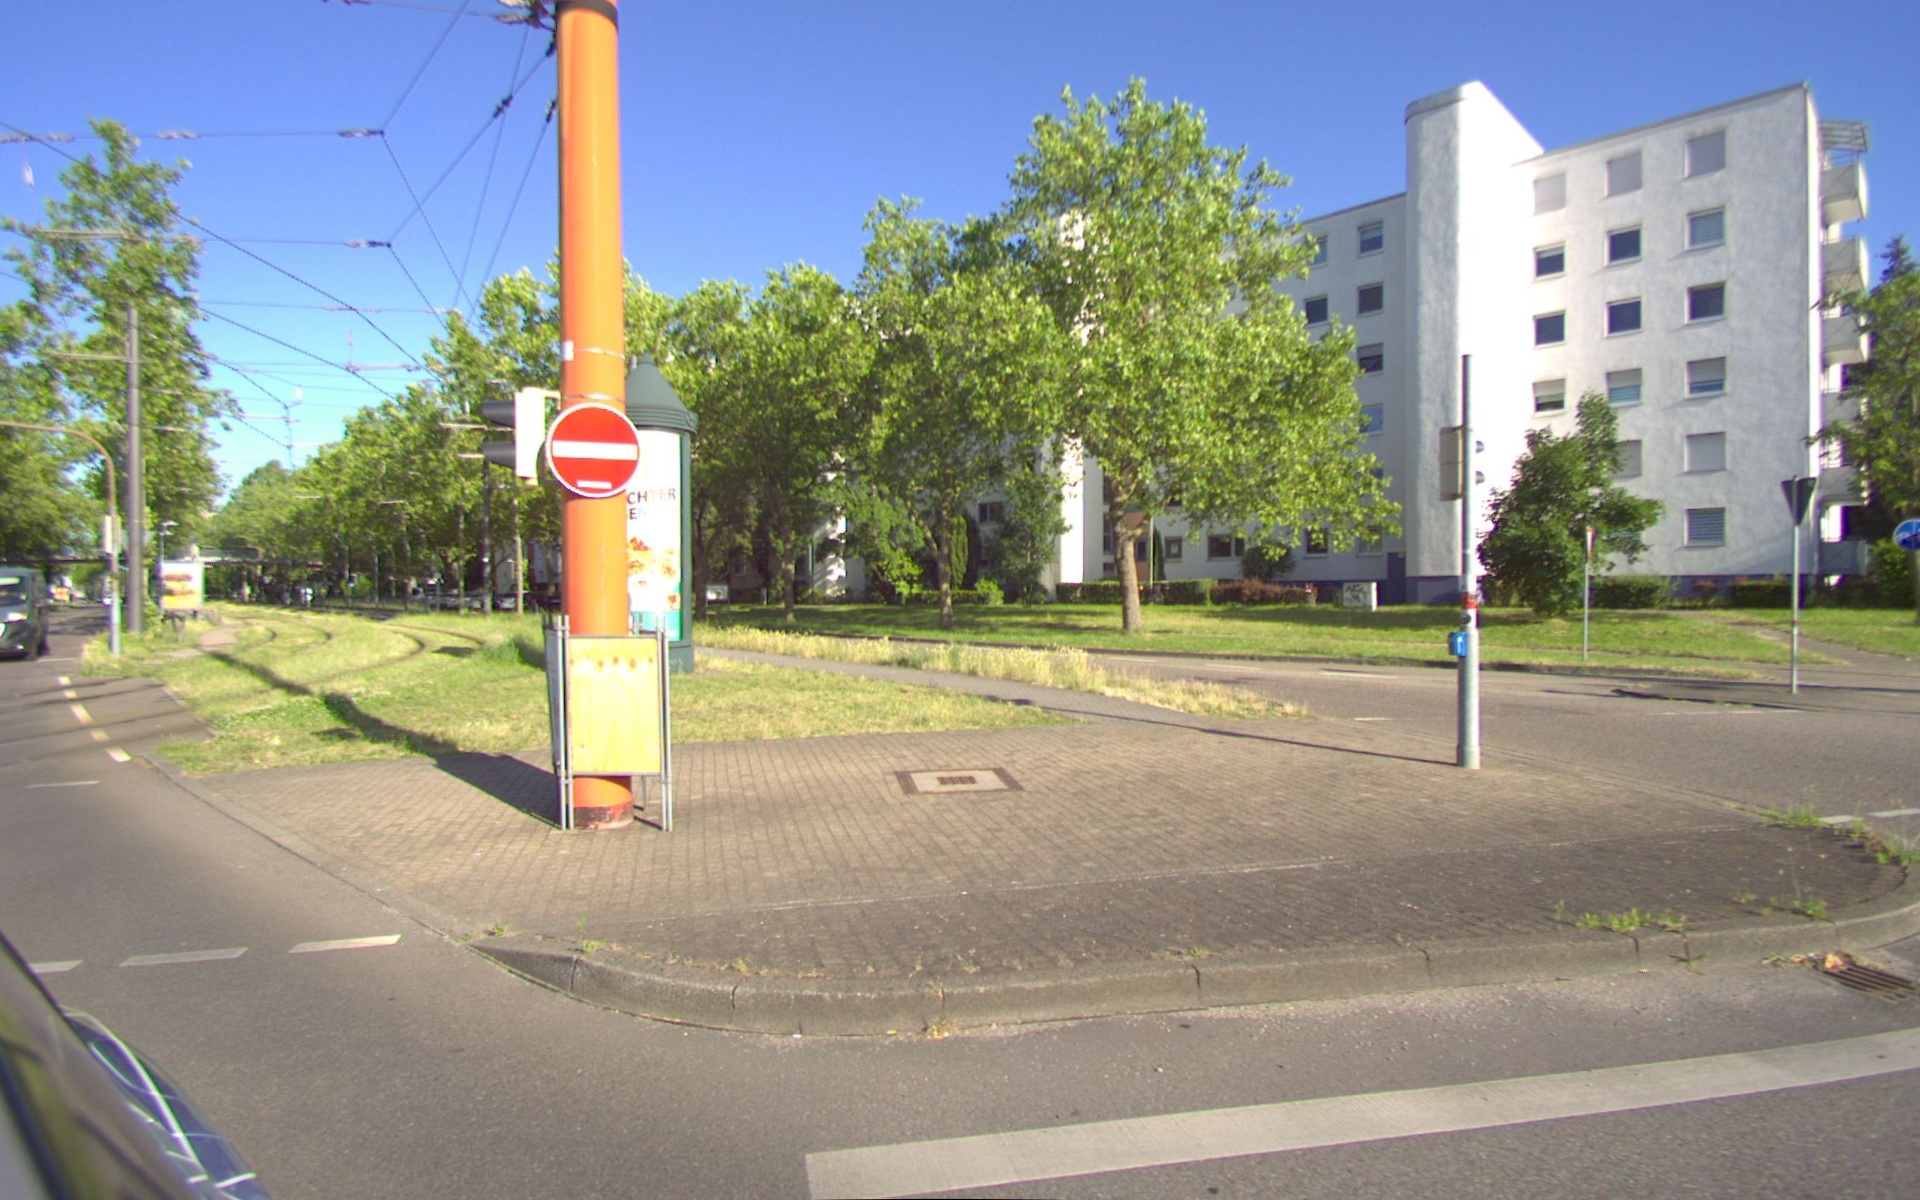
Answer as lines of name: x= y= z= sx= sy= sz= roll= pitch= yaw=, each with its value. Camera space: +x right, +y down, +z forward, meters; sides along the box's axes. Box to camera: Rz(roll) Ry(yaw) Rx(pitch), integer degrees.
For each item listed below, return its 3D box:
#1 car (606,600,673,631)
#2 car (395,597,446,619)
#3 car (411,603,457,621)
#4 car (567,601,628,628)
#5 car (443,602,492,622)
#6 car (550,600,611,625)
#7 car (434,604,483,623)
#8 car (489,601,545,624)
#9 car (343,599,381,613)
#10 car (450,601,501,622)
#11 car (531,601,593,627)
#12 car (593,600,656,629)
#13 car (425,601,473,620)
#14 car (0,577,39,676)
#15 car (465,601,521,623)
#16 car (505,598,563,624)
car: x=-17.098 y=0.802 z=54.230 sx=1.794 sy=1.498 sz=4.039 roll=-2 pitch=0 yaw=9
car: x=-51.339 y=0.733 z=96.393 sx=1.998 sy=1.933 sz=4.422 roll=-2 pitch=0 yaw=7
car: x=-49.111 y=1.110 z=94.608 sx=1.774 sy=1.510 sz=4.040 roll=-2 pitch=0 yaw=7
car: x=-21.222 y=0.818 z=59.439 sx=1.658 sy=1.398 sz=4.039 roll=-2 pitch=0 yaw=9
car: x=-41.262 y=0.986 z=84.833 sx=1.774 sy=1.510 sz=4.040 roll=-2 pitch=0 yaw=7
car: x=-23.280 y=0.764 z=62.211 sx=1.775 sy=1.398 sz=4.039 roll=-2 pitch=0 yaw=9
car: x=-43.243 y=1.127 z=87.351 sx=1.774 sy=1.510 sz=4.040 roll=-2 pitch=0 yaw=7
car: x=-31.903 y=0.880 z=72.992 sx=1.776 sy=1.510 sz=4.036 roll=-2 pitch=0 yaw=10
car: x=-72.064 y=0.683 z=122.045 sx=1.774 sy=1.510 sz=4.040 roll=-2 pitch=0 yaw=7
car: x=-39.033 y=0.901 z=81.579 sx=1.774 sy=1.510 sz=4.040 roll=-2 pitch=0 yaw=7
car: x=-25.361 y=0.849 z=64.598 sx=1.776 sy=1.510 sz=4.036 roll=-2 pitch=0 yaw=10
car: x=-19.019 y=0.808 z=57.498 sx=1.744 sy=1.498 sz=4.039 roll=-2 pitch=0 yaw=9
car: x=-45.113 y=0.907 z=89.382 sx=1.774 sy=1.510 sz=4.040 roll=-2 pitch=0 yaw=7
car: x=-23.722 y=0.605 z=24.397 sx=2.009 sy=2.221 sz=5.670 roll=-1 pitch=1 yaw=-40
car: x=-34.839 y=0.855 z=75.588 sx=1.776 sy=1.510 sz=4.036 roll=-2 pitch=0 yaw=10
car: x=-29.594 y=0.749 z=70.351 sx=1.776 sy=1.676 sz=4.036 roll=-2 pitch=0 yaw=10
